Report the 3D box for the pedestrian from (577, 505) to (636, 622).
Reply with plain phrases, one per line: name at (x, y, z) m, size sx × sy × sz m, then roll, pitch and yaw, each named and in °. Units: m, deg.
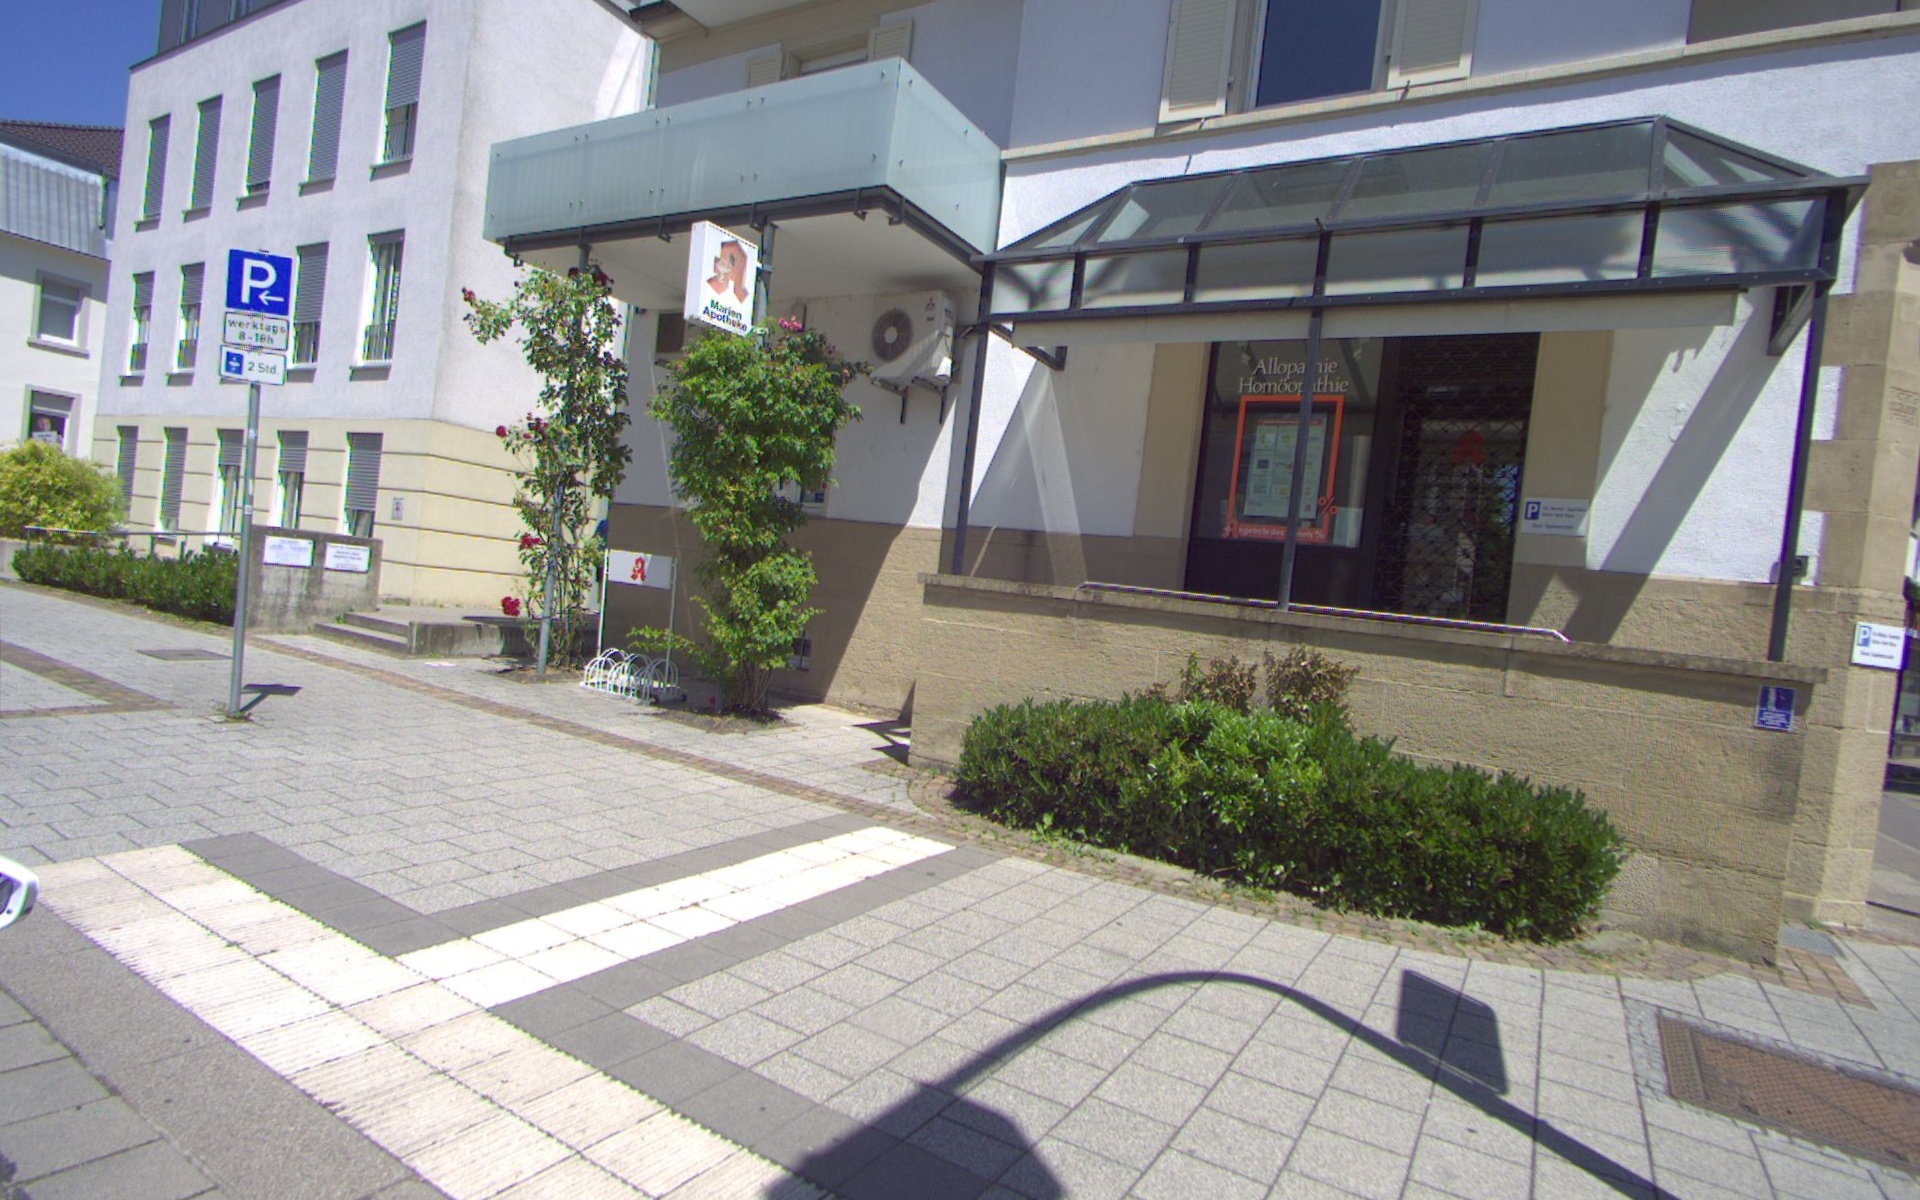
pedestrian at (-5.436, -0.550, 15.474) m, size 0.586 × 1.723 × 0.410 m, roll 6°, pitch 1°, yaw -1°
